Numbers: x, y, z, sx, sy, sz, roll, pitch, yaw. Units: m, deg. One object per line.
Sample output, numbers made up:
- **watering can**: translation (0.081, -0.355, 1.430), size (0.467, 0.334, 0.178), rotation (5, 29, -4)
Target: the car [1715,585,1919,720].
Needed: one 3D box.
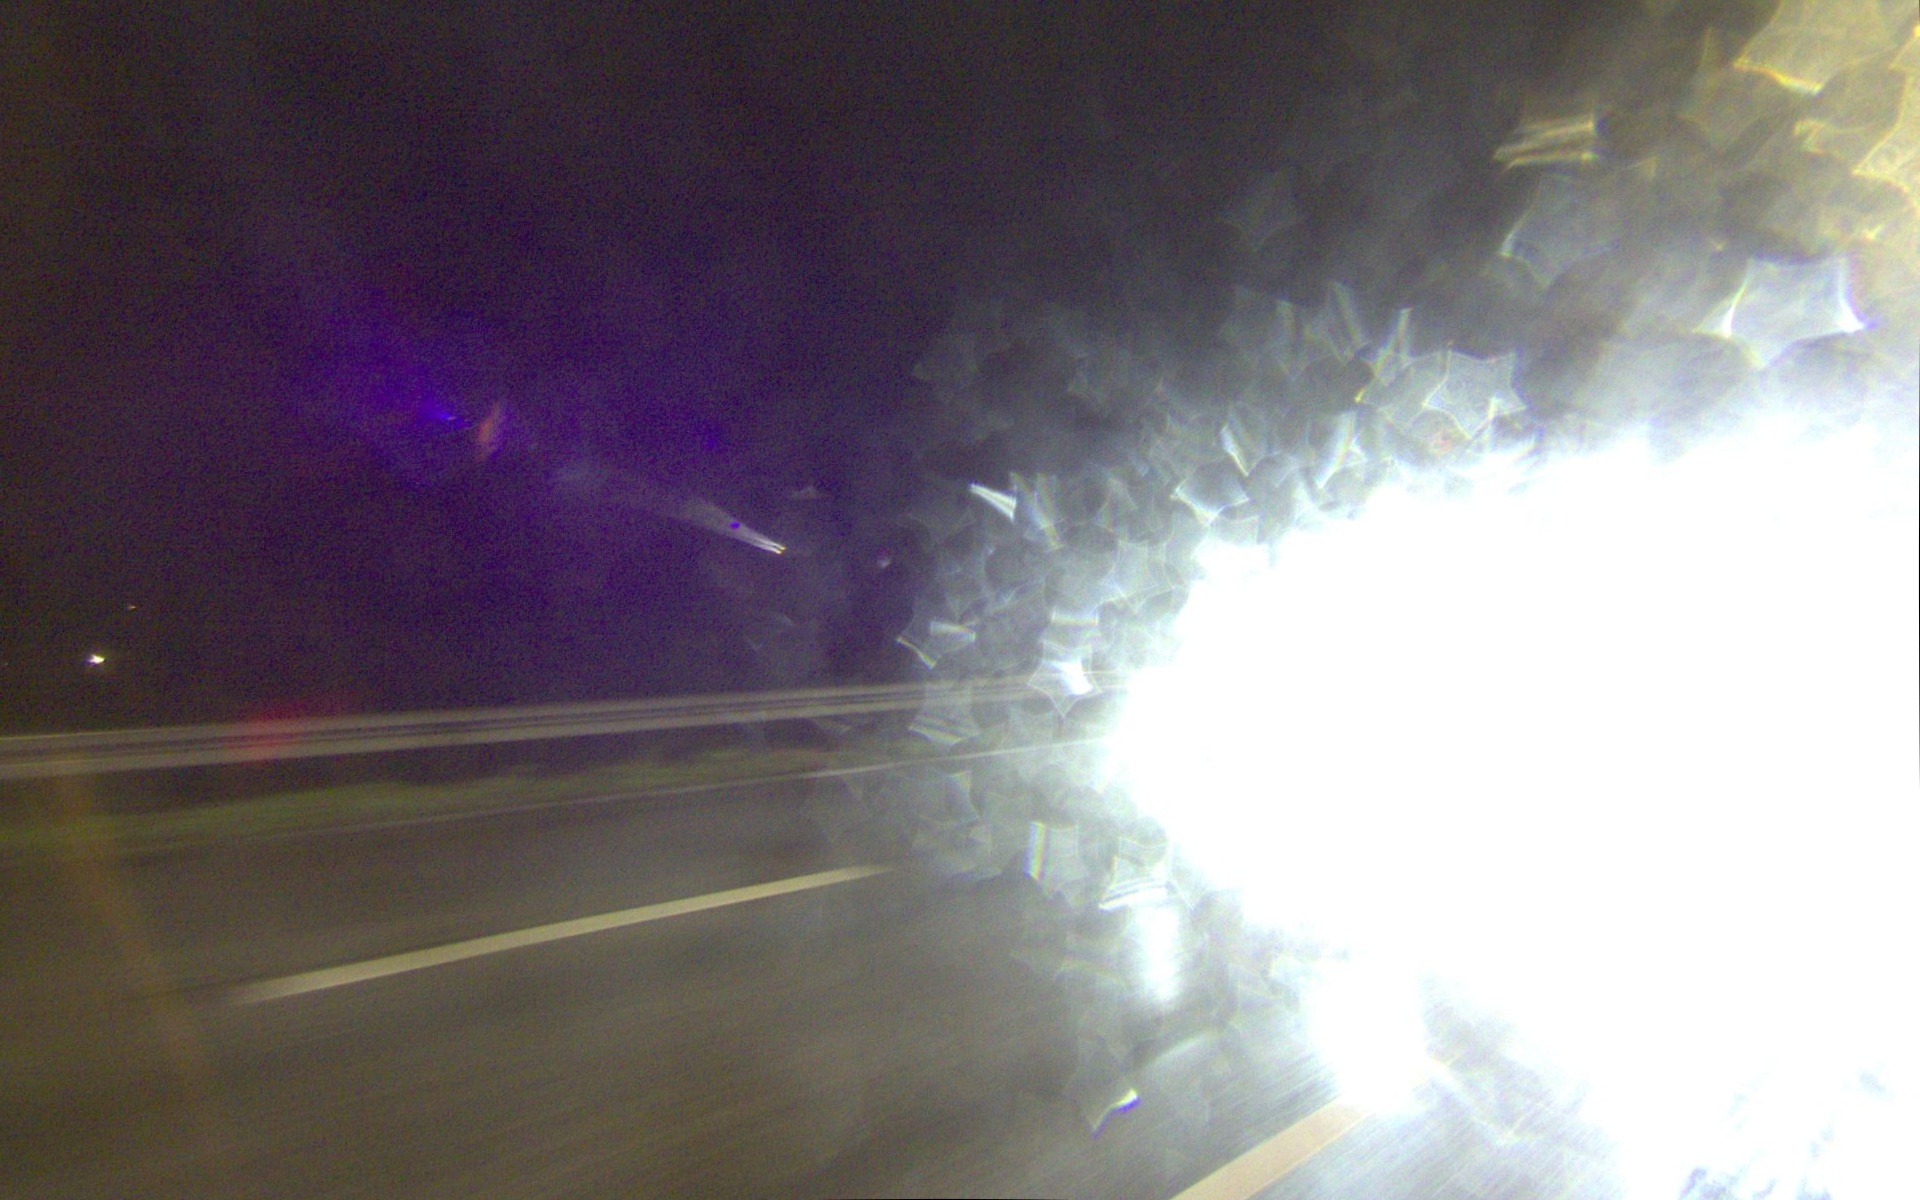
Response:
- **car**: translation (12.172, 0.608, 13.807), size (4.331, 1.541, 1.712), rotation (-2, -1, -36)

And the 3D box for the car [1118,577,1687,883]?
- **car**: translation (3.294, 0.698, 7.105), size (4.475, 1.526, 1.676), rotation (0, -3, -38)
